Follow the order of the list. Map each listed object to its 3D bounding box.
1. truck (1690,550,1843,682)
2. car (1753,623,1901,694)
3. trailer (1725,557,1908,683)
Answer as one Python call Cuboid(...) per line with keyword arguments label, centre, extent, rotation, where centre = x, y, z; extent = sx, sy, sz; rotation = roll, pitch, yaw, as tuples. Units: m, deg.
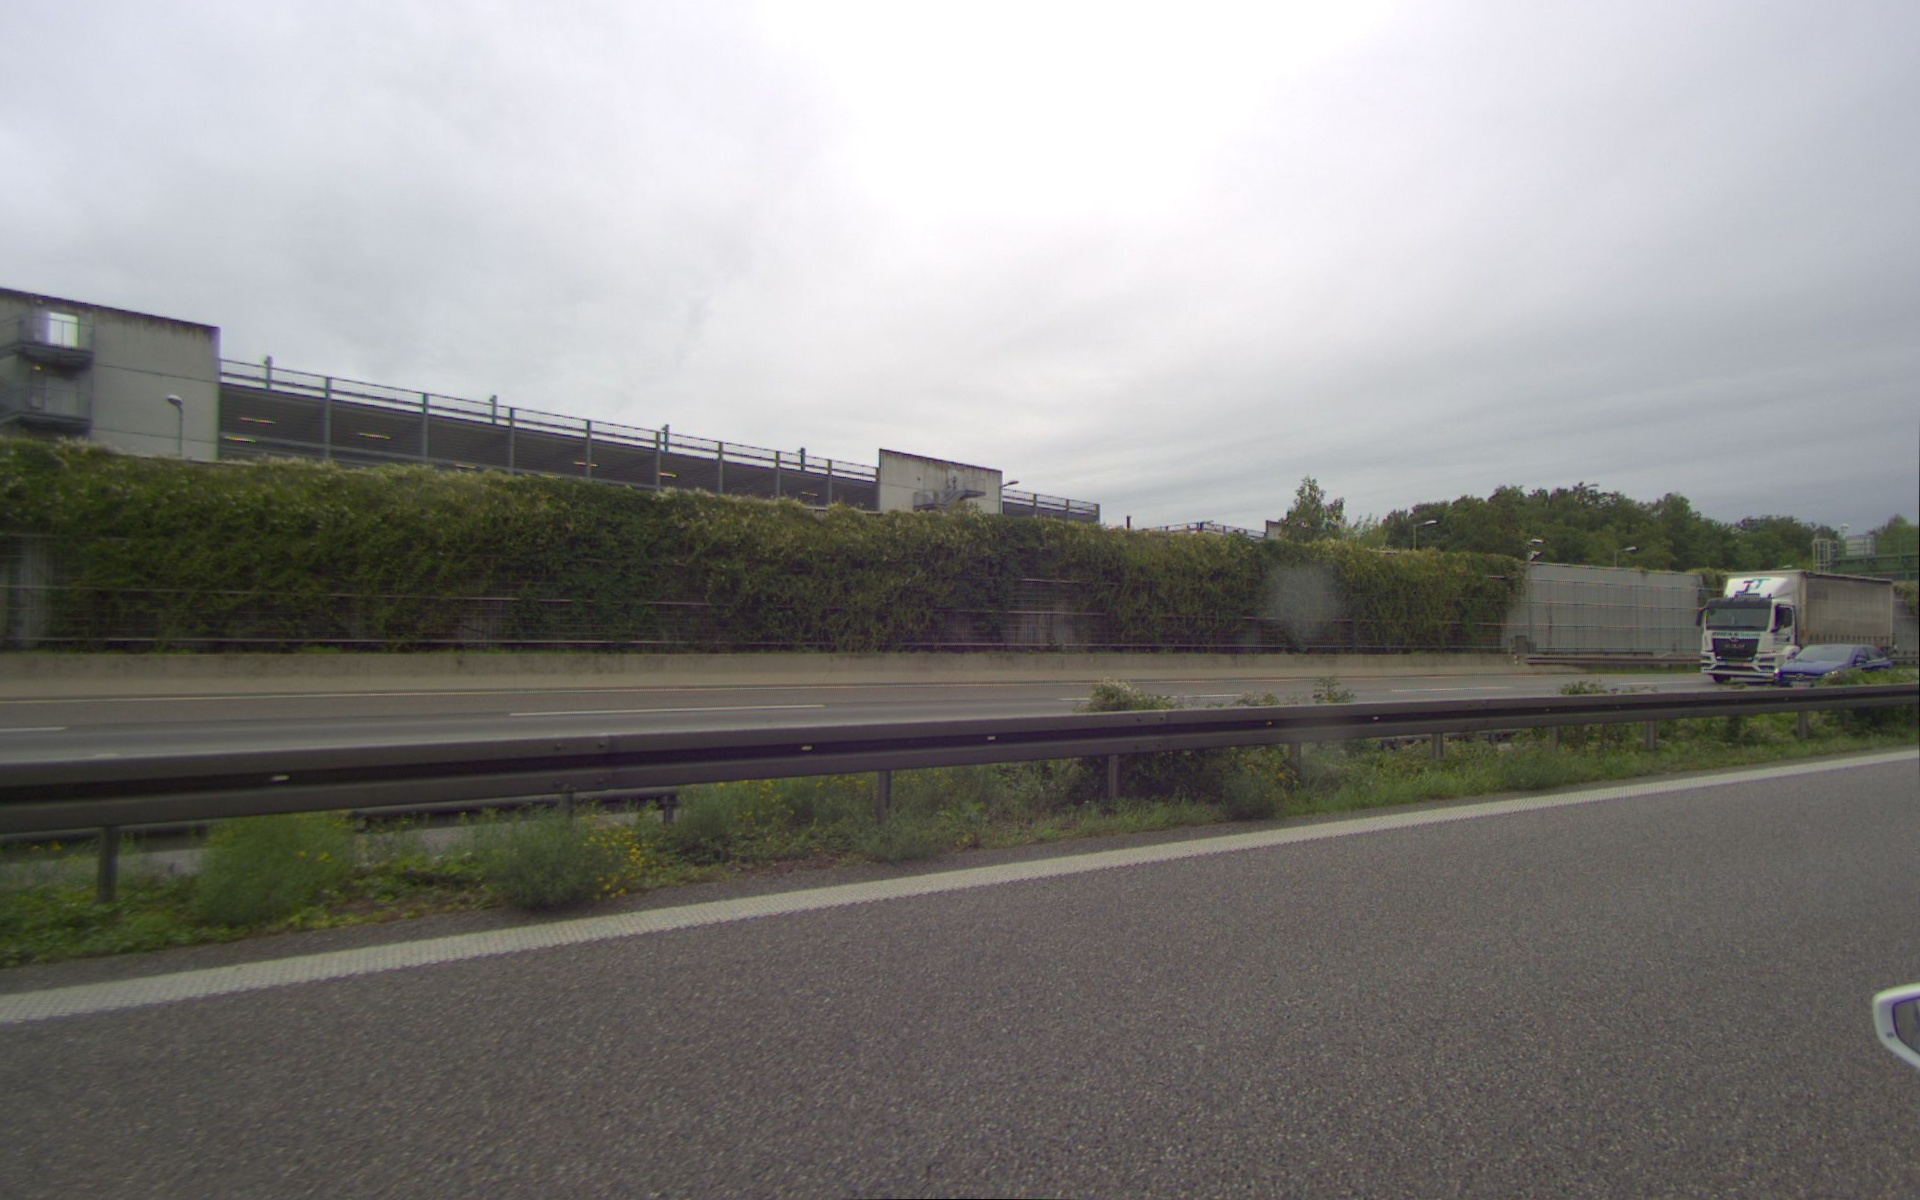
Cuboid(label="truck", centre=(29.717, 0.642, 36.987), extent=(5.218, 4.532, 2.638), rotation=(2, -1, -29))
Cuboid(label="car", centre=(26.993, 1.806, 31.242), extent=(4.852, 2.040, 1.984), rotation=(3, -1, -30))
Cuboid(label="trailer", centre=(33.393, 0.839, 39.064), extent=(8.468, 4.503, 2.657), rotation=(2, -1, -29))
